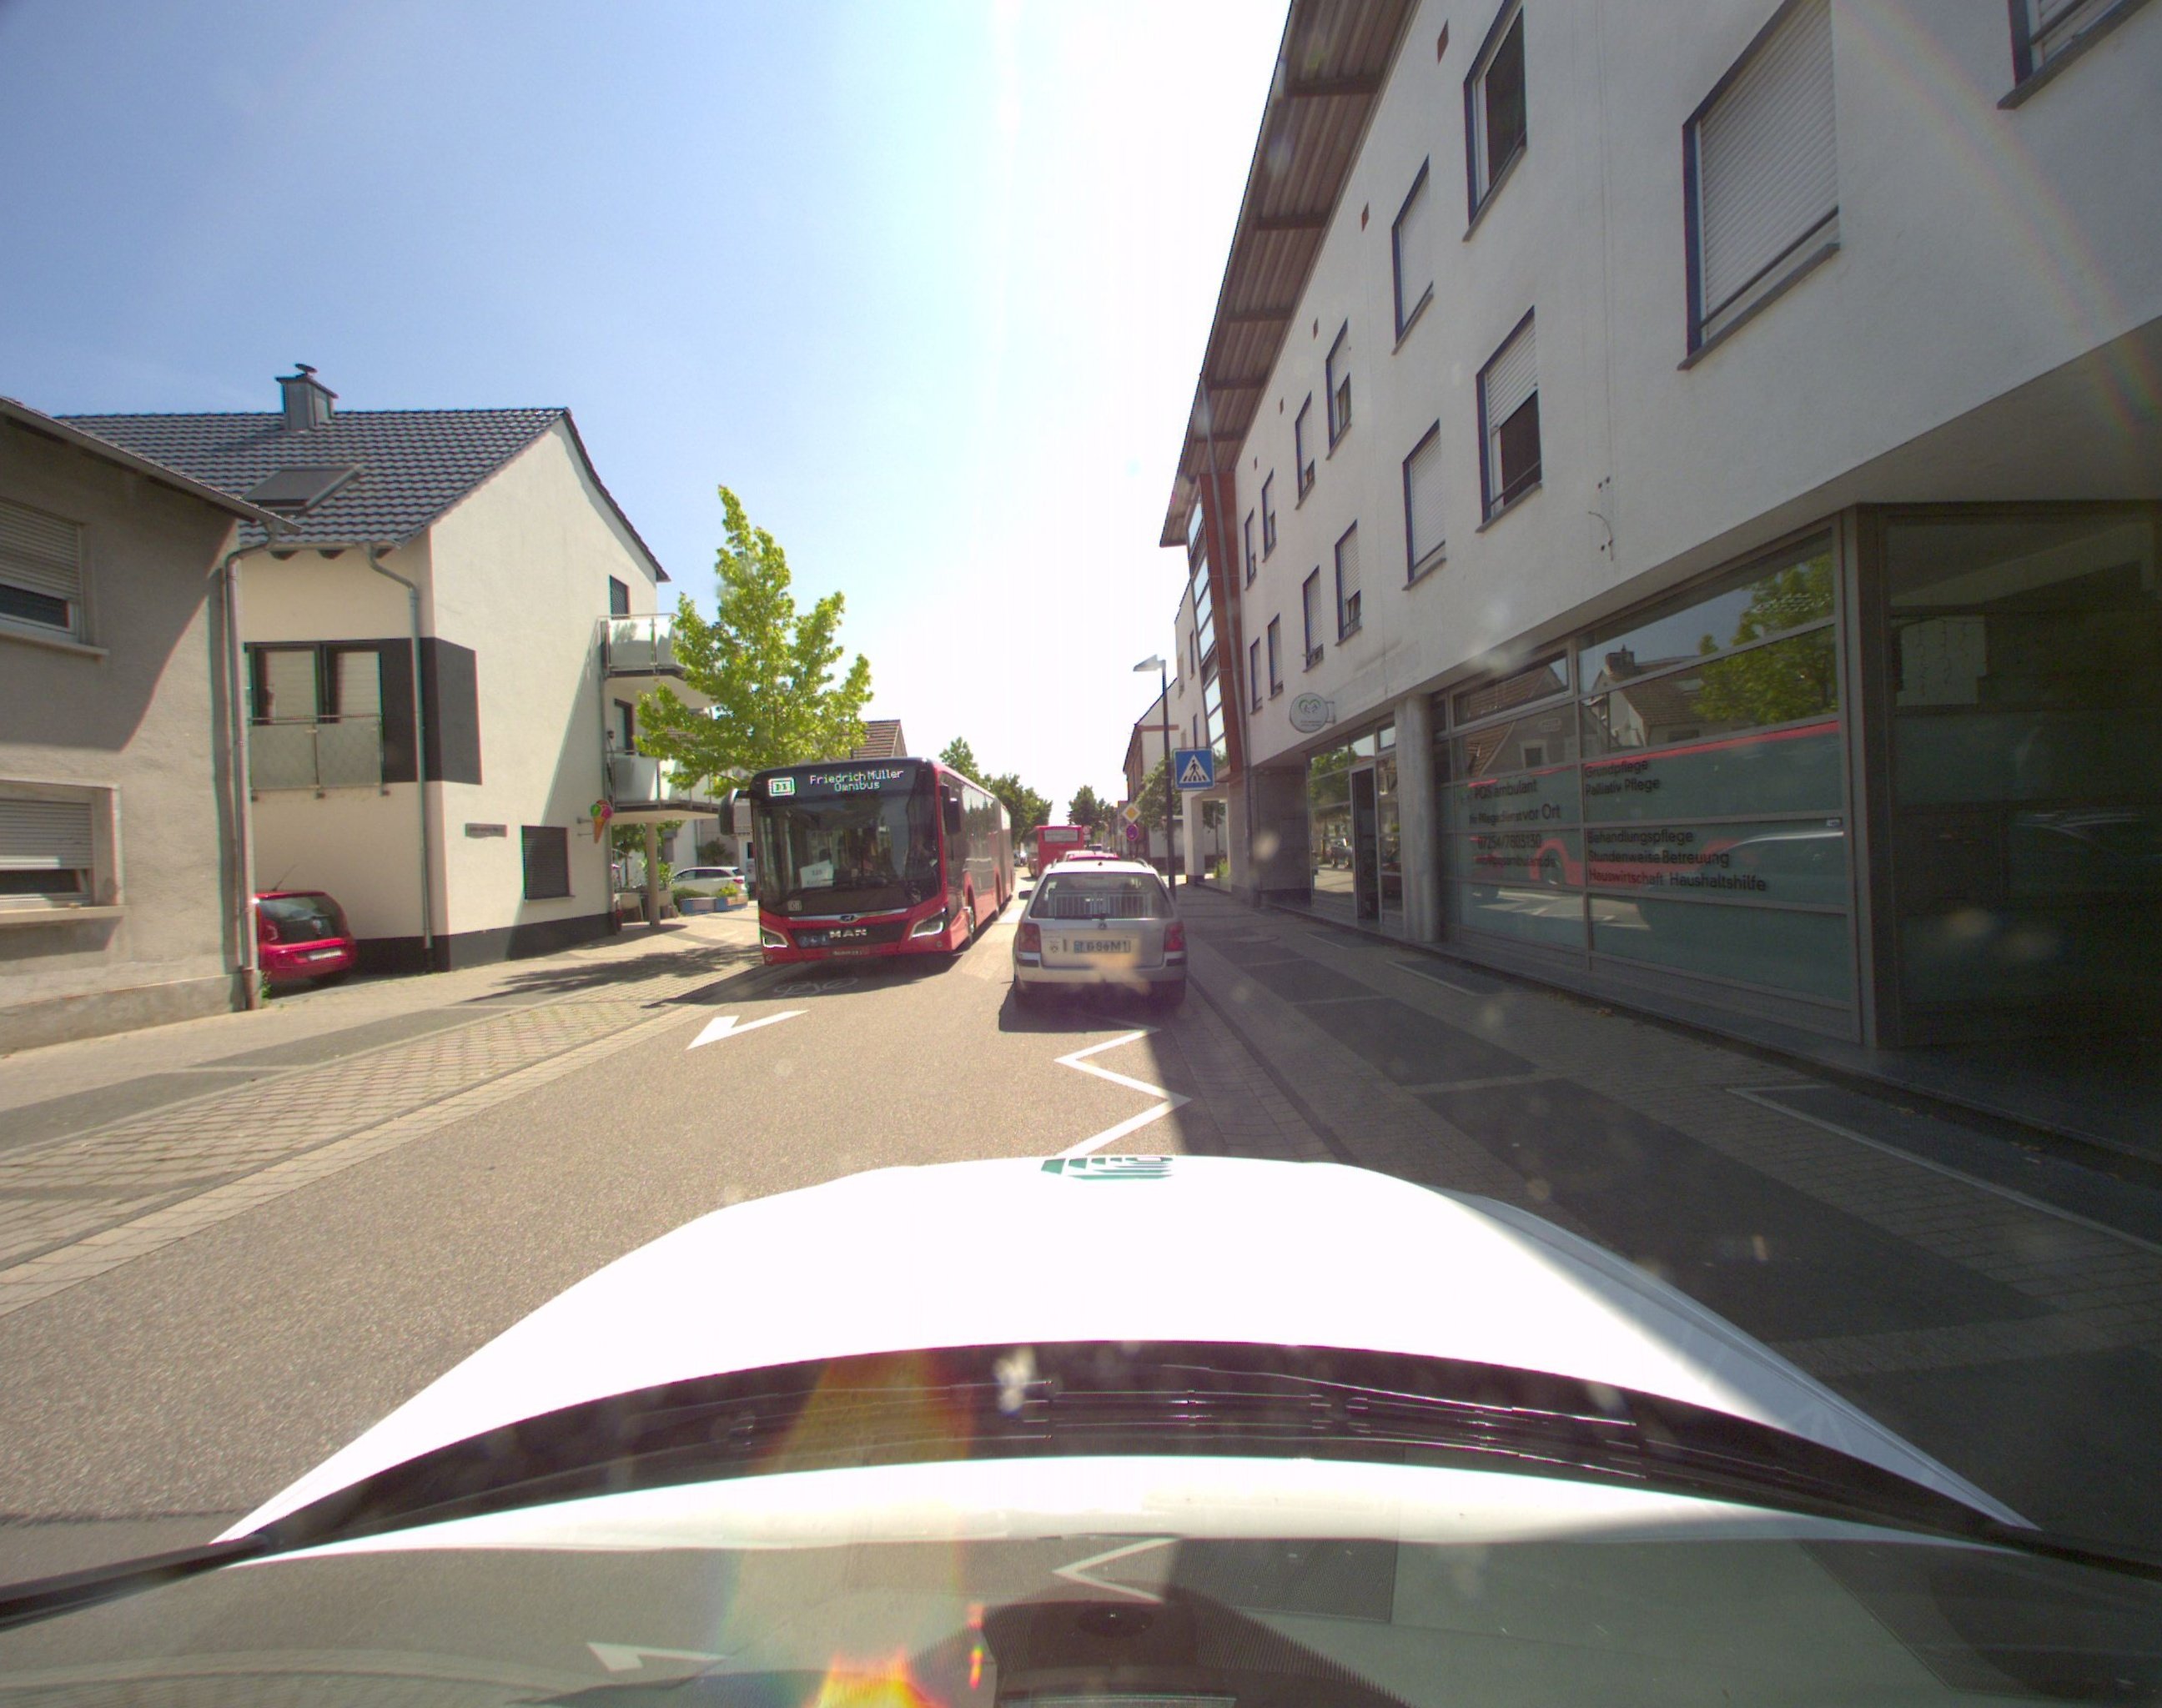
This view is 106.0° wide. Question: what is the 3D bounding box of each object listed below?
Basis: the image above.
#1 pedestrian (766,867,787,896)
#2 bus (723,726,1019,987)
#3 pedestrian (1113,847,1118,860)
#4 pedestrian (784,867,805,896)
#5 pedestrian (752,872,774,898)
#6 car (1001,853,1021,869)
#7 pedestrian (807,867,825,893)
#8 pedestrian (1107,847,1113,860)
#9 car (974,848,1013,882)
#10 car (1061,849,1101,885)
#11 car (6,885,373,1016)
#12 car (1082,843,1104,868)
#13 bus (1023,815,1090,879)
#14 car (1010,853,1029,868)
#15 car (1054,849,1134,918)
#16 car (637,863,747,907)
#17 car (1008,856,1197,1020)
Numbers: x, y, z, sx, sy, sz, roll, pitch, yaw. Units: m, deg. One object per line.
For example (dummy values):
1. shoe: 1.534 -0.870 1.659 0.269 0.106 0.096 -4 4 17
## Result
1. pedestrian: -13.874 1.255 37.083 0.639 1.289 0.780 0 -1 -44
2. bus: -3.266 0.011 19.005 2.662 3.123 17.794 -3 0 -2
3. pedestrian: 4.323 -0.086 101.949 0.604 1.667 0.789 -2 0 -2
4. pedestrian: -12.921 1.223 36.737 0.639 1.289 0.780 0 -1 -44
5. pedestrian: -14.191 1.371 36.324 0.639 1.116 0.780 0 -1 -44
6. car: -7.597 0.753 88.243 1.806 1.559 3.999 -2 0 -1
7. pedestrian: -12.365 1.212 37.988 0.621 1.179 0.695 -2 0 -5
8. pedestrian: 3.570 -0.040 101.543 0.604 1.667 0.789 -2 0 -2
9. car: -4.770 0.562 44.718 1.670 1.716 4.230 -3 0 -1
10. car: 0.034 0.535 35.010 1.588 1.430 3.680 -1 0 1
11. car: -12.164 1.262 11.311 3.110 1.443 1.584 -3 0 -6
12. car: 1.012 0.102 72.326 1.782 2.082 3.624 -2 0 -1
13. bus: -1.769 -0.351 49.693 2.738 3.298 12.671 -2 0 -8
14. car: -7.114 0.763 94.732 1.806 1.559 3.999 -2 0 -1
15. car: 0.276 0.632 19.654 1.672 1.430 3.678 -3 0 0
16. car: -16.418 1.293 34.572 3.926 1.545 1.509 -3 2 -17
17. car: 0.186 0.747 9.075 1.672 1.430 3.678 0 0 0
